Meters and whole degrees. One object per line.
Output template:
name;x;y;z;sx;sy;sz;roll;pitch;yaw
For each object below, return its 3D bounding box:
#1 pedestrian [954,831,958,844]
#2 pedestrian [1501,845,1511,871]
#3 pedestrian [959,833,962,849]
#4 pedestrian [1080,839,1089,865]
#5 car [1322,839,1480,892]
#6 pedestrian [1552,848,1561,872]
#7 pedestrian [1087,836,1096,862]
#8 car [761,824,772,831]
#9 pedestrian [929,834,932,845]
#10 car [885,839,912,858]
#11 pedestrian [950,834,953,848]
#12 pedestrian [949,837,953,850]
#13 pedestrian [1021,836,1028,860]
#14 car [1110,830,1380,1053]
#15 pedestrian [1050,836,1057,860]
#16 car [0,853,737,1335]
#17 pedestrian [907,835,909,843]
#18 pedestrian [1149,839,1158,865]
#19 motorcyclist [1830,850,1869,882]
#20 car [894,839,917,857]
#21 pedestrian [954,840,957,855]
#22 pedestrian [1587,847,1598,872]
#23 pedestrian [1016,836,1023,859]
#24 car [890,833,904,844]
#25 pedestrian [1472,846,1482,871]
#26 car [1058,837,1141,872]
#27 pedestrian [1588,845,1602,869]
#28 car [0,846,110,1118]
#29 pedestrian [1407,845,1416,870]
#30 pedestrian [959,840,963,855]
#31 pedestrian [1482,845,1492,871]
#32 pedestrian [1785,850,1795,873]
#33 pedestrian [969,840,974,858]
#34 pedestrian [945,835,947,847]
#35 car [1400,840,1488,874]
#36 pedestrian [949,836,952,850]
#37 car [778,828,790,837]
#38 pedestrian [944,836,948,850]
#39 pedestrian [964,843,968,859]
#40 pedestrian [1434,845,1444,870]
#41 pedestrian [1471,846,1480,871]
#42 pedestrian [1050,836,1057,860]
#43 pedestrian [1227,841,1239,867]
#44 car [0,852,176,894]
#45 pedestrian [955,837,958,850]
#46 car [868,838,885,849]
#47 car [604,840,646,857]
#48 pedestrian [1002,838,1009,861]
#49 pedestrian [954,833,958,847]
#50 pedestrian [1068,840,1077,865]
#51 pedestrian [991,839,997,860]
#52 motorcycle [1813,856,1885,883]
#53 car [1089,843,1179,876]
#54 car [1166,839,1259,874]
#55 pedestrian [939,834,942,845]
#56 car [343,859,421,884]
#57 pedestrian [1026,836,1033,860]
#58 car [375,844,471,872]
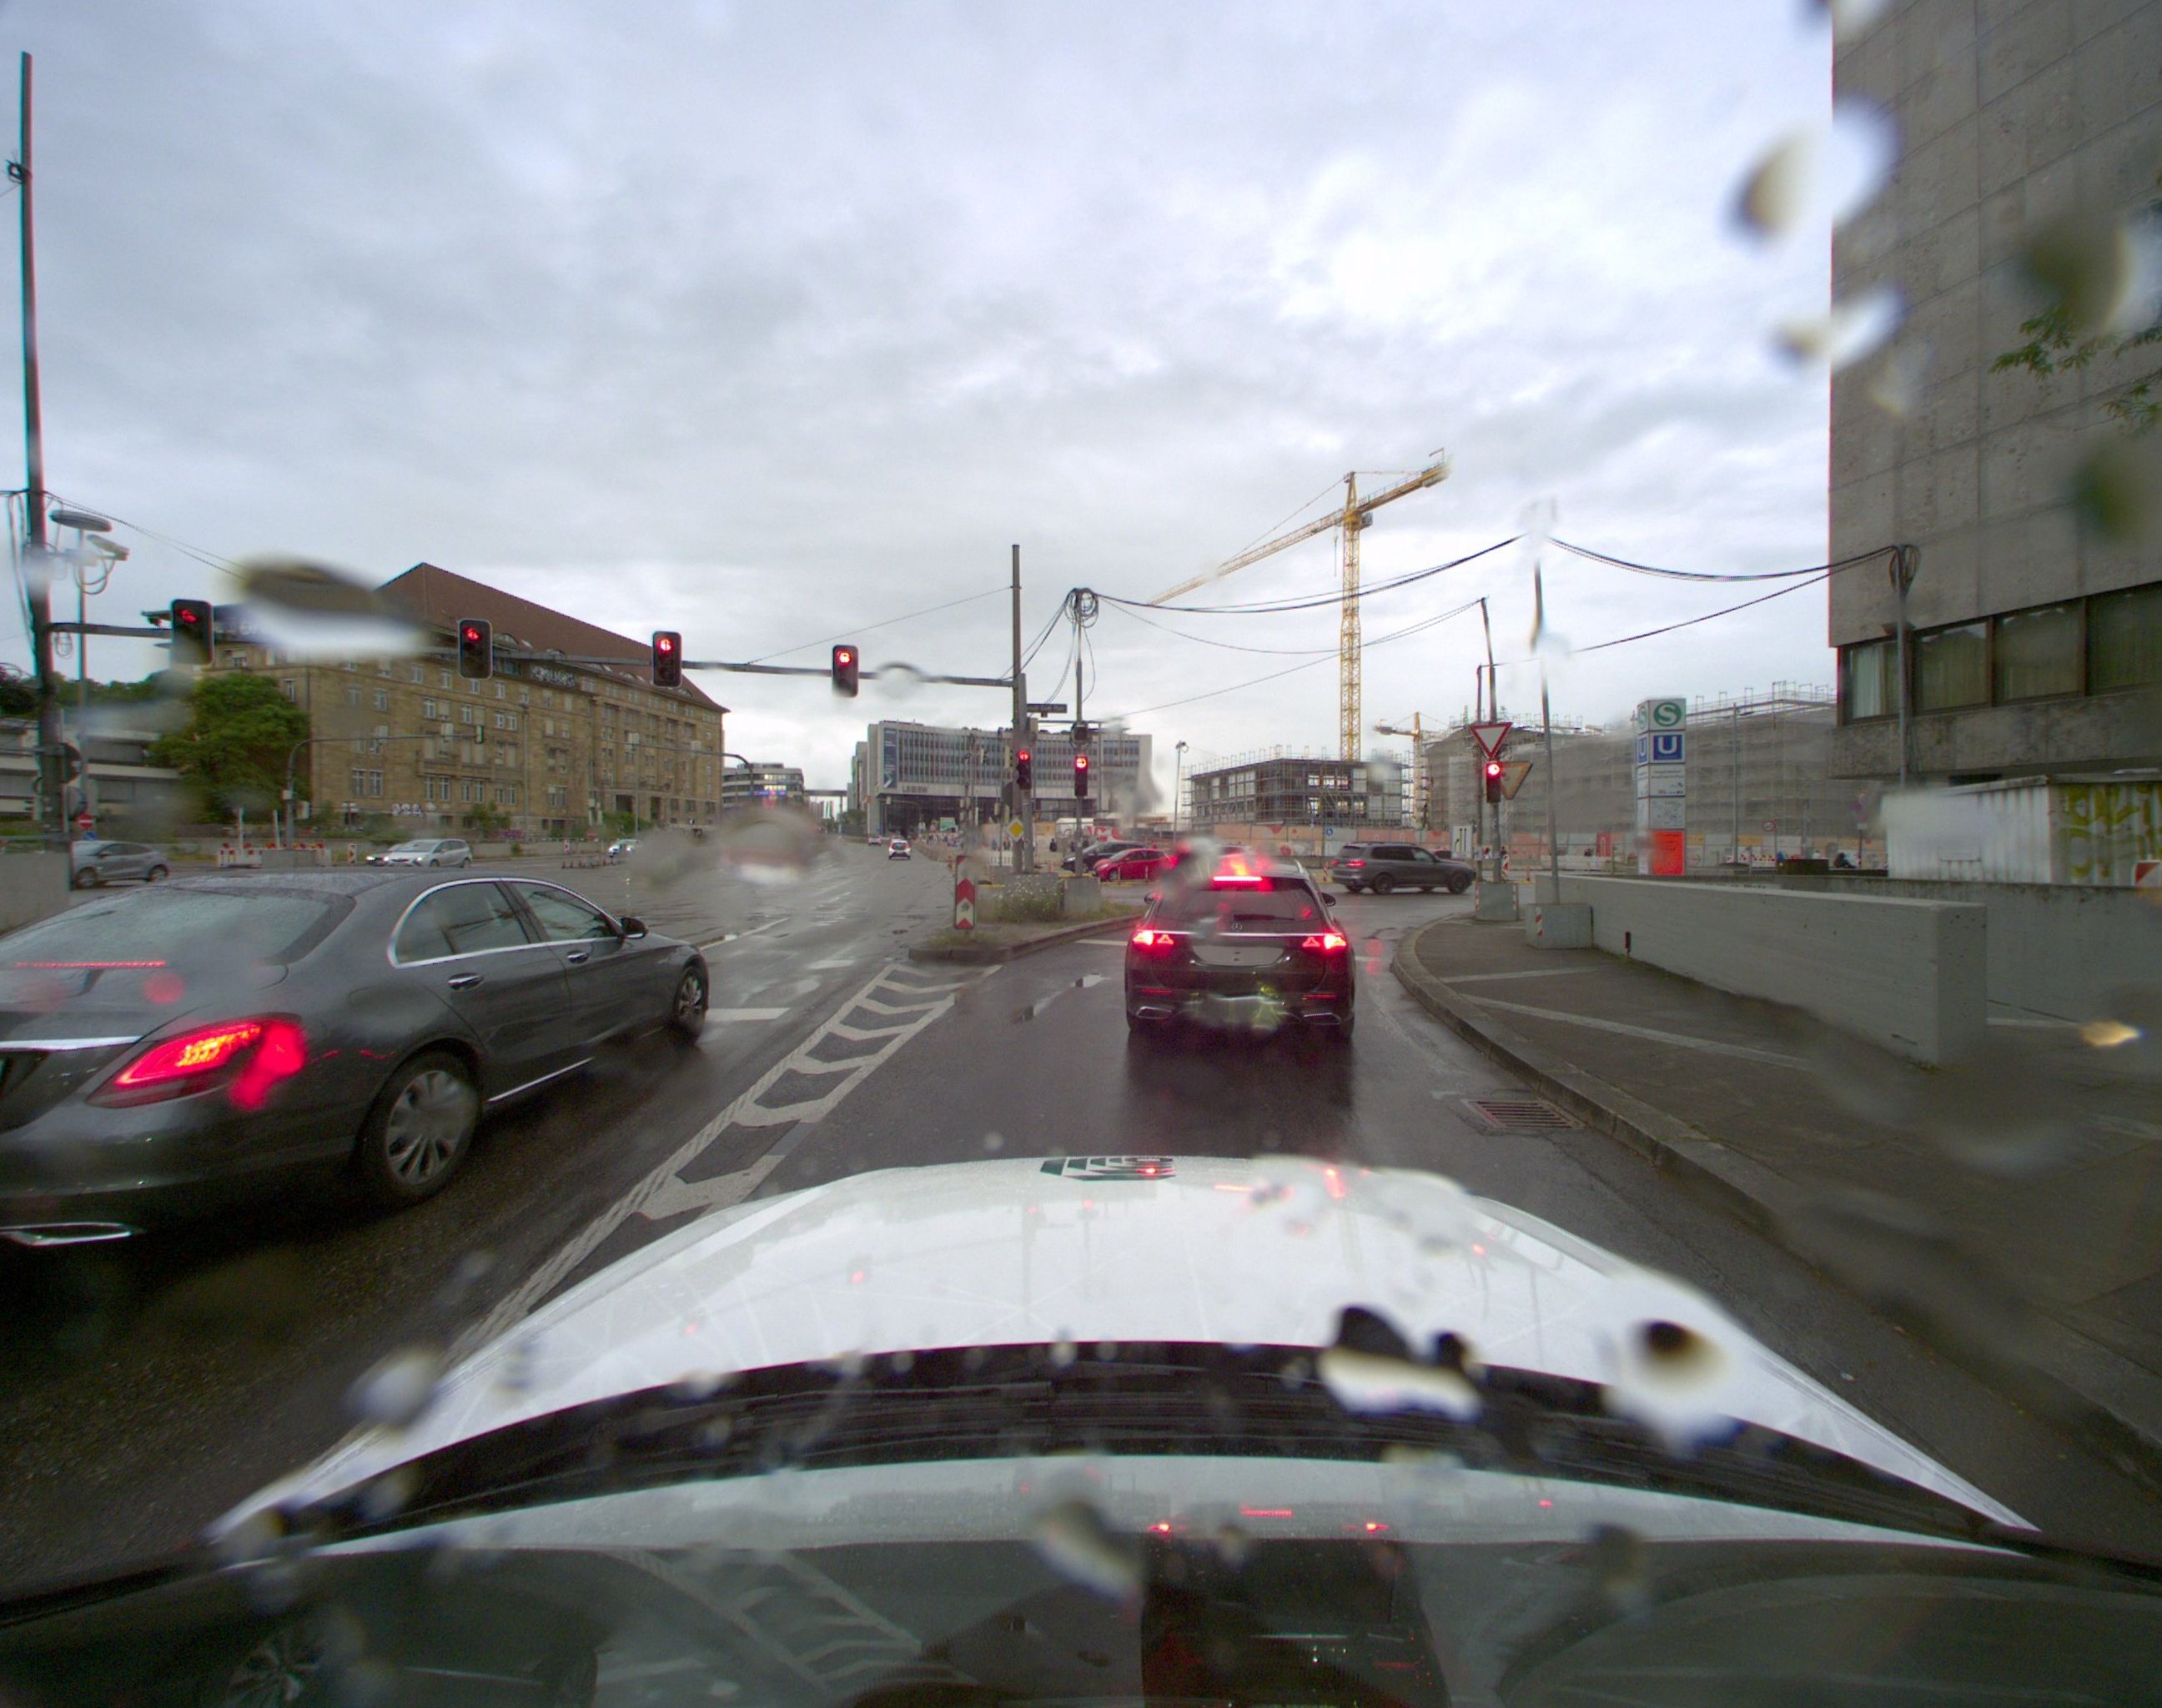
pedestrian;-19.714;-2.599;128.483;0.520;1.898;0.573;1;-1;-16
pedestrian;31.678;0.316;60.656;0.574;1.898;0.361;1;-1;-10
pedestrian;-14.657;-1.550;99.107;0.362;1.898;0.573;1;-1;-16
pedestrian;0.257;-0.173;59.615;0.570;1.898;0.364;0;-1;16
car;11.530;0.426;29.417;5.091;1.798;1.991;1;-1;-13
pedestrian;38.514;0.497;65.987;0.575;1.898;0.360;1;-1;-14
pedestrian;0.777;-0.375;60.585;0.569;1.898;0.364;0;-1;32
car;-87.888;-7.481;227.654;2.009;1.816;3.956;1;-1;-36
pedestrian;-26.141;-2.514;141.343;0.362;1.898;0.573;1;-1;-16
car;-14.923;-0.412;66.408;1.786;1.473;3.536;1;-1;-19
pedestrian;-18.689;-1.893;117.656;0.362;1.898;0.573;1;-1;-16
pedestrian;-19.653;-1.554;122.849;0.520;1.898;0.573;1;-1;-16
pedestrian;-4.604;-0.483;66.426;0.363;1.898;0.571;1;-1;-26
car;1.404;0.640;7.794;1.881;1.544;4.001;1;-1;7
pedestrian;-2.163;-0.491;64.942;0.362;1.898;0.572;1;-1;-20
car;-3.725;0.751;4.749;1.780;1.402;4.480;1;1;-4
pedestrian;-38.790;-3.355;182.984;0.361;1.898;0.574;1;-1;-13
pedestrian;5.279;-0.155;59.373;0.572;1.898;0.362;1;-1;4
motorcyclist;33.619;0.534;35.642;0.938;1.358;0.853;0;-1;16
car;-18.615;-0.578;86.154;1.999;1.766;4.392;1;-1;-18
pedestrian;-15.579;-0.773;101.129;0.362;1.898;0.573;1;-1;-16
pedestrian;39.466;0.415;62.840;0.574;1.898;0.361;1;-1;-10
pedestrian;-5.044;-0.512;66.248;0.363;1.898;0.572;1;-1;-25
car;-31.076;-2.643;137.442;1.733;1.639;3.412;1;2;-20
pedestrian;30.218;0.318;62.156;0.574;1.898;0.361;1;-1;-10
car;0.944;0.046;42.533;3.993;1.734;1.990;1;-1;-15
pedestrian;40.853;0.234;64.771;0.798;1.898;0.563;1;-1;-13
car;-6.774;0.672;2.464;1.884;1.515;4.993;1;-1;-5
pedestrian;24.971;0.246;61.538;0.574;1.898;0.361;1;-1;-10
pedestrian;-14.926;-0.773;101.345;0.362;1.898;0.573;1;-1;-16
pedestrian;30.534;0.309;61.213;0.574;1.898;0.361;1;-1;-10
pedestrian;60.211;0.647;69.126;0.574;1.898;0.361;1;-1;-10
pedestrian;-11.503;-0.563;85.597;0.362;1.898;0.573;1;-1;-16
pedestrian;-21.392;-1.992;129.023;0.362;1.898;0.573;1;-1;-16
car;19.588;0.180;43.971;3.995;1.708;1.989;1;-1;-16
pedestrian;-18.370;-1.514;114.610;0.361;1.898;0.574;1;-1;-12
car;-72.382;-5.322;198.474;2.007;2.014;3.958;1;-1;-33
pedestrian;-18.753;-1.540;113.216;0.362;1.898;0.573;1;-1;-16
pedestrian;-13.120;-0.330;93.207;0.362;1.898;0.573;1;-1;-16
pedestrian;27.382;0.289;62.288;0.574;1.898;0.361;1;-1;-10
pedestrian;30.377;0.329;62.721;0.574;1.898;0.361;1;-1;-10
pedestrian;-2.201;-0.492;64.949;0.362;1.898;0.572;1;-1;-20
pedestrian;11.330;0.025;60.598;0.656;1.901;0.629;1;-1;-12
car;-32.526;0.602;26.784;1.625;1.260;3.982;1;-1;-13
pedestrian;-18.929;-1.567;123.464;0.362;1.898;0.573;1;-1;-16
car;-32.476;-1.650;129.227;2.002;1.640;3.970;1;-1;-23
car;-36.570;-0.385;65.404;1.768;1.260;3.985;1;-1;-11
pedestrian;-6.204;-0.339;66.725;0.363;1.898;0.572;1;-1;-24
pedestrian;-17.394;-1.904;113.386;0.362;1.898;0.573;1;-1;-16
pedestrian;-0.619;-0.112;61.202;0.570;1.898;0.364;0;-1;15
pedestrian;-8.027;-0.383;75.240;0.362;1.898;0.572;1;-1;-20
motorcycle;33.592;0.670;35.647;2.120;1.108;0.854;1;-1;16
car;2.272;0.250;35.210;3.542;1.304;1.656;1;-1;-17
car;6.367;0.140;39.559;4.050;1.552;1.988;1;-1;-18
pedestrian;-24.036;-2.488;139.055;0.362;1.898;0.573;1;-1;-16
car;-36.856;0.894;43.044;1.739;1.260;3.315;1;-1;-13
pedestrian;-4.199;-0.496;66.563;0.362;1.898;0.572;1;-1;-20
car;-31.605;0.197;39.275;1.768;1.260;4.178;1;-1;-11
